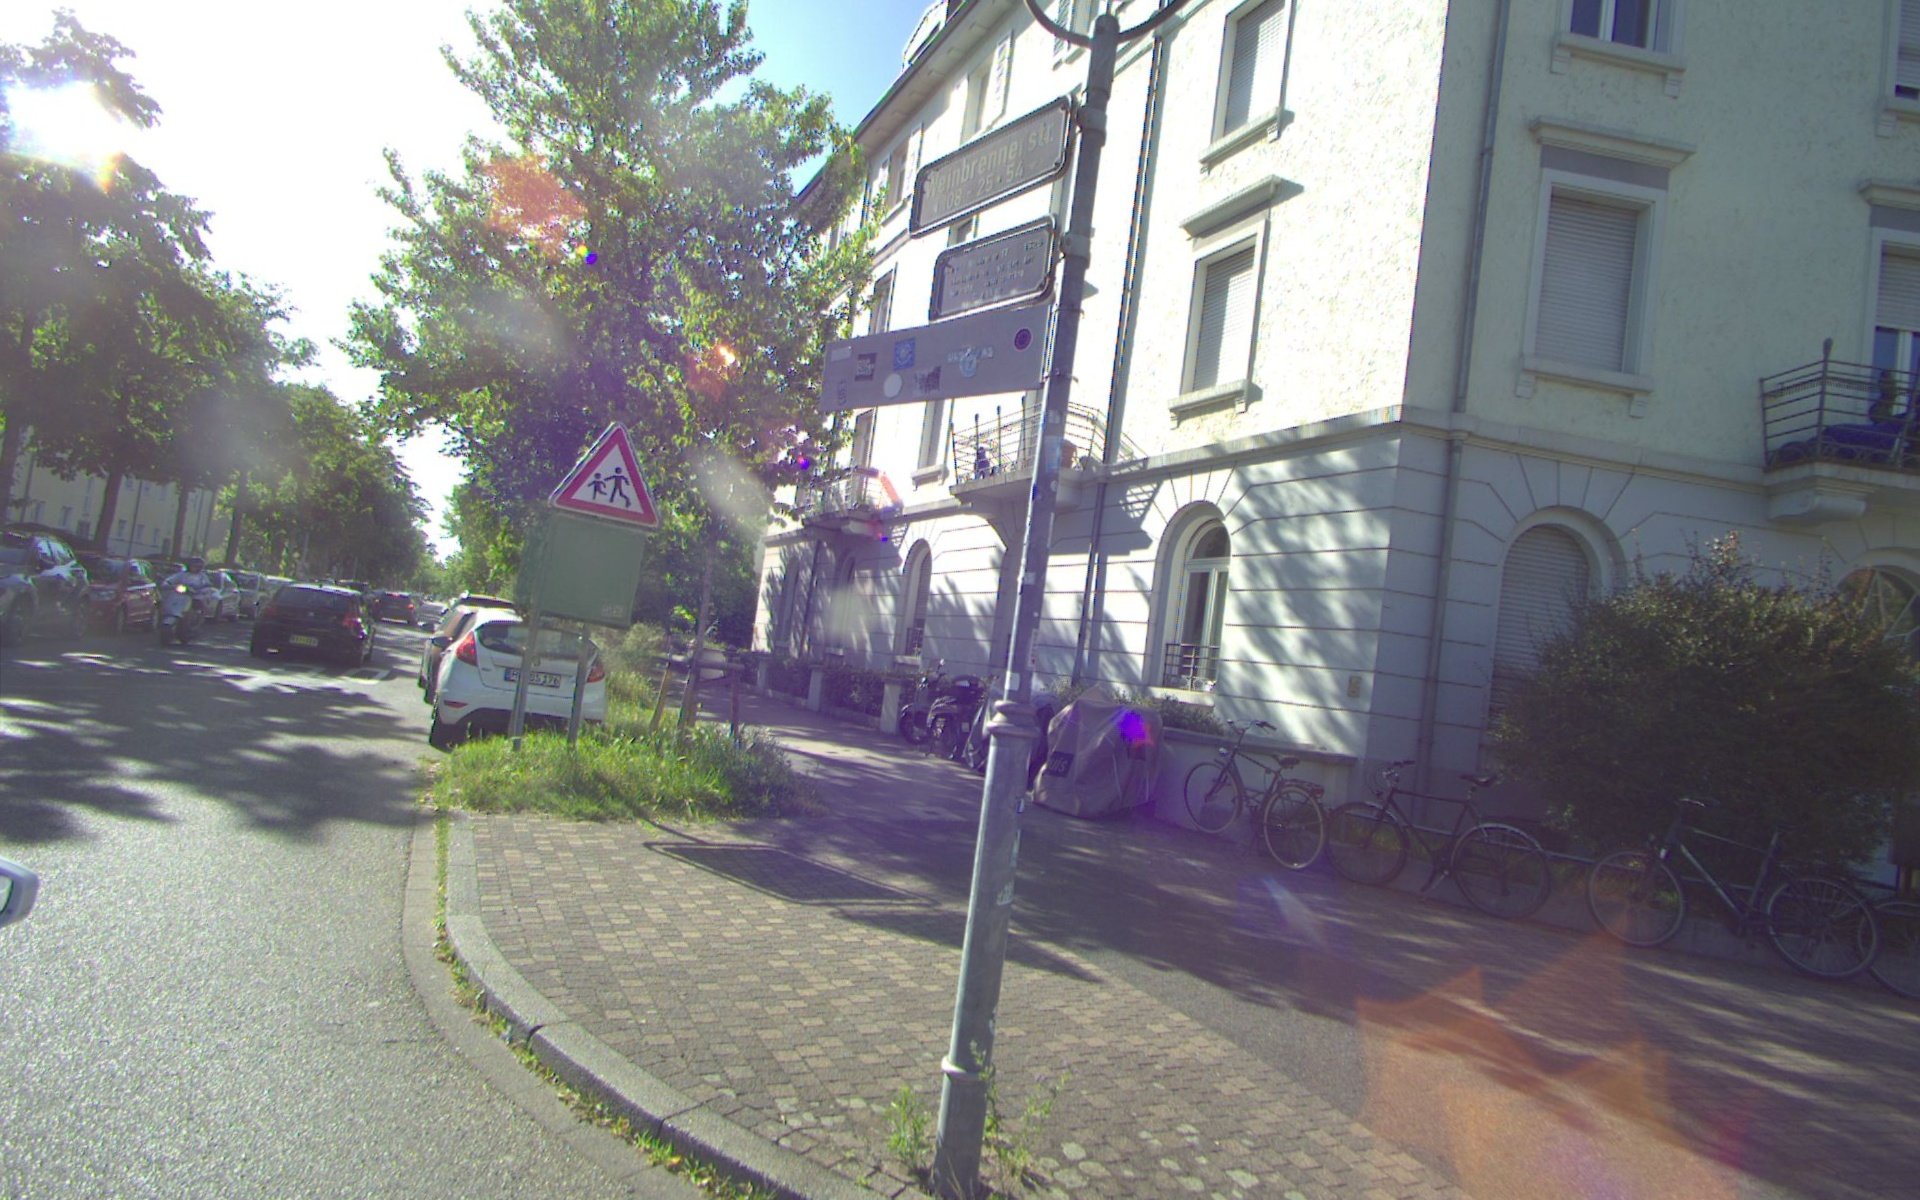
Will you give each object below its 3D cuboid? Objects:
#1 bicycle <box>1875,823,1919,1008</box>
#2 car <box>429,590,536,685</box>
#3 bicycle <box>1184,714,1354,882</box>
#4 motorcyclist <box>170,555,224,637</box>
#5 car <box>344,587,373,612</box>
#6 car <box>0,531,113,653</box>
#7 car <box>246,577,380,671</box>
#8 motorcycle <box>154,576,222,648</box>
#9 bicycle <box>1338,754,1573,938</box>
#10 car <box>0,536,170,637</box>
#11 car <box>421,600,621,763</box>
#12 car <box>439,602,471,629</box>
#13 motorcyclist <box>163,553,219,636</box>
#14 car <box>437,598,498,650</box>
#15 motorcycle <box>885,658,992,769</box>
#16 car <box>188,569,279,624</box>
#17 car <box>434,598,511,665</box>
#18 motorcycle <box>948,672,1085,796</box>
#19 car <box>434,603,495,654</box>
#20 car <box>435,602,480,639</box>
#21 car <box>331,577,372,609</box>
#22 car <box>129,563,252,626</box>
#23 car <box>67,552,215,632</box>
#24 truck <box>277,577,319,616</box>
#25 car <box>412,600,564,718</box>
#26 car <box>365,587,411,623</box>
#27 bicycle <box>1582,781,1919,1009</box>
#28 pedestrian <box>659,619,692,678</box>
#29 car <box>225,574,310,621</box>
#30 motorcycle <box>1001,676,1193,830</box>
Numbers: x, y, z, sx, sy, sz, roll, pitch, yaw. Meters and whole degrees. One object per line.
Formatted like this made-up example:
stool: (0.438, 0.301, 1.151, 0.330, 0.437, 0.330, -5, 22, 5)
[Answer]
bicycle: (7.164, 2.215, 6.657, 1.606, 1.161, 0.367, 7, -3, 12)
car: (-10.627, 0.774, 22.285, 1.767, 1.716, 4.272, 9, -4, -27)
bicycle: (2.748, 1.736, 9.084, 0.323, 1.251, 1.491, 9, -4, -34)
motorcyclist: (-14.117, -0.070, 18.625, 0.539, 1.441, 0.401, 9, -3, -28)
car: (-44.924, -0.006, 75.211, 1.600, 1.629, 4.202, 8, -4, -29)
car: (-14.297, -0.231, 14.816, 1.679, 1.581, 4.705, 9, -4, -28)
car: (-11.984, 0.435, 18.842, 1.636, 1.412, 3.391, 9, -4, -27)
motorcycle: (-13.975, 0.210, 18.258, 0.548, 1.187, 1.623, 9, -4, -27)
bicycle: (3.881, 1.887, 7.957, 1.551, 1.115, 0.350, 3, -5, 42)
car: (-16.372, -0.211, 18.874, 1.651, 1.501, 3.237, 9, -4, -27)
car: (-5.225, 0.834, 11.718, 1.640, 1.417, 4.110, 9, -4, -27)
car: (-38.081, 1.178, 75.957, 1.833, 1.647, 4.388, 10, -5, -25)
motorcyclist: (-13.904, -0.090, 18.205, 0.548, 1.418, 0.516, 9, -3, -28)
car: (-18.982, 0.881, 38.672, 1.638, 1.673, 3.820, 10, -4, -30)
motorcycle: (-0.356, 1.609, 14.681, 0.535, 1.375, 2.077, 9, -4, -27)
car: (-23.902, -0.080, 33.240, 1.606, 1.532, 4.245, 7, -3, -26)
car: (-14.828, 0.909, 30.480, 1.673, 1.603, 4.507, 12, -5, -28)
motorcycle: (0.667, 1.643, 12.567, 0.652, 1.294, 1.785, 7, -3, -33)
car: (-16.993, 0.950, 34.504, 1.616, 1.440, 4.343, 9, -4, -27)
car: (-23.780, 0.939, 47.587, 1.624, 1.470, 4.075, 9, -4, -27)
car: (-42.467, -0.440, 70.295, 1.810, 1.925, 5.113, 8, -4, -26)
car: (-21.238, -0.113, 27.972, 1.731, 1.383, 4.647, 8, -4, -27)
car: (-18.691, -0.154, 23.158, 1.651, 1.474, 3.910, 9, -4, -26)
truck: (-30.336, -0.140, 46.124, 1.074, 1.594, 2.419, 9, -4, -25)
car: (-7.575, 0.840, 15.916, 1.601, 1.425, 4.320, 10, -4, -30)
car: (-27.150, 0.223, 47.867, 1.637, 1.441, 3.976, 9, -4, -28)
bicycle: (5.473, 2.009, 7.049, 1.746, 1.161, 0.445, 6, -3, 20)
pedestrian: (-9.100, 1.552, 32.166, 0.617, 1.794, 0.795, 9, -3, -27)
car: (-26.254, -0.056, 38.311, 1.775, 1.460, 4.663, 8, -3, -25)
motorcycle: (1.437, 1.609, 10.871, 0.965, 1.343, 1.838, 10, -4, -32)
